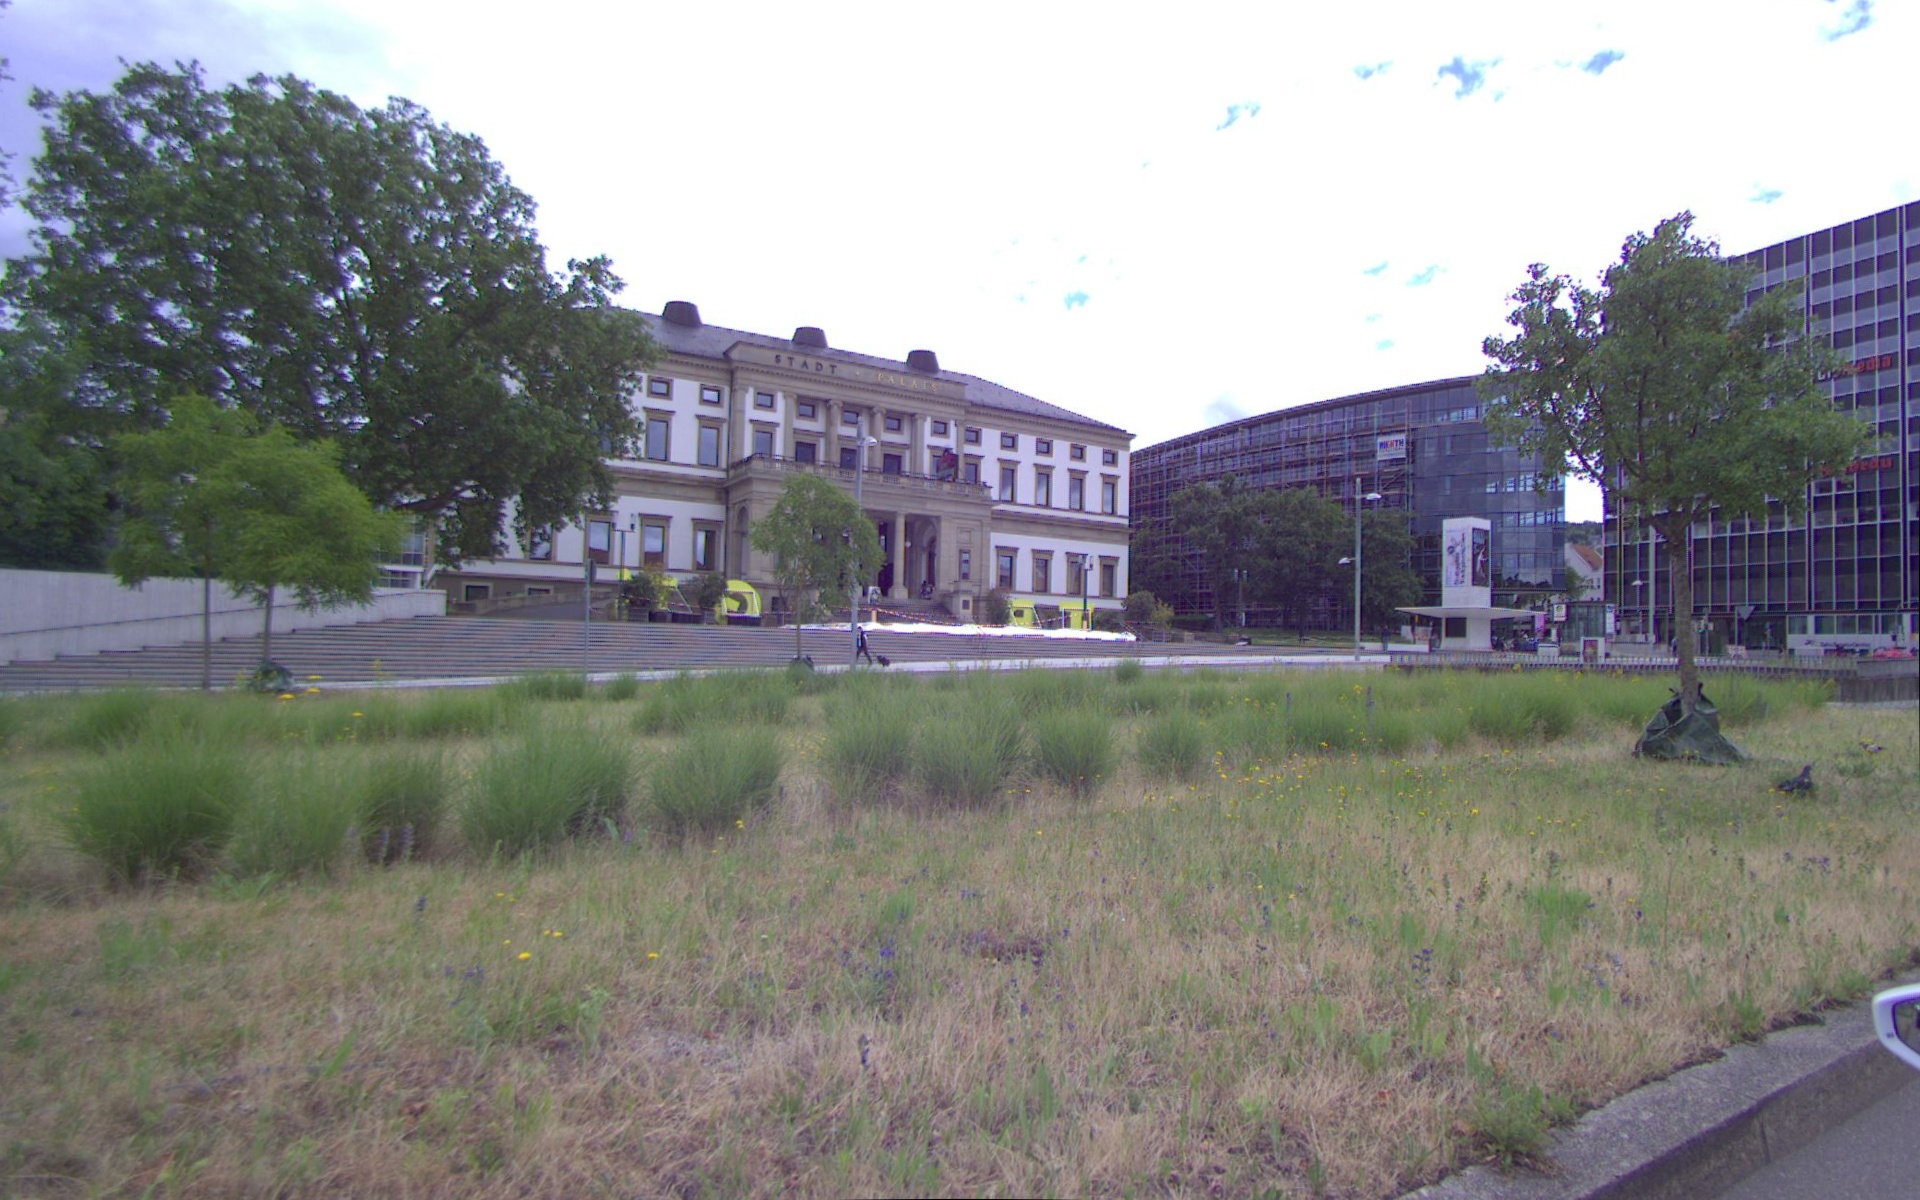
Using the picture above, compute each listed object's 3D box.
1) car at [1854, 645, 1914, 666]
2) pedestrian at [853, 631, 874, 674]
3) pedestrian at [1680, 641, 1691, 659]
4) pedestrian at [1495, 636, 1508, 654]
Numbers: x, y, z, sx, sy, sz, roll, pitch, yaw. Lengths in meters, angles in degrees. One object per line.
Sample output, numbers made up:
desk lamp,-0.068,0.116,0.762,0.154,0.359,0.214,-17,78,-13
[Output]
car,74.592,4.488,81.165,1.689,1.522,3.984,1,-1,10
pedestrian,-3.827,2.063,39.783,0.643,1.671,0.521,2,-1,-32
pedestrian,65.187,4.502,90.249,0.611,1.614,0.591,1,-1,20
pedestrian,33.430,2.800,61.981,0.553,1.095,0.473,2,-1,-29
